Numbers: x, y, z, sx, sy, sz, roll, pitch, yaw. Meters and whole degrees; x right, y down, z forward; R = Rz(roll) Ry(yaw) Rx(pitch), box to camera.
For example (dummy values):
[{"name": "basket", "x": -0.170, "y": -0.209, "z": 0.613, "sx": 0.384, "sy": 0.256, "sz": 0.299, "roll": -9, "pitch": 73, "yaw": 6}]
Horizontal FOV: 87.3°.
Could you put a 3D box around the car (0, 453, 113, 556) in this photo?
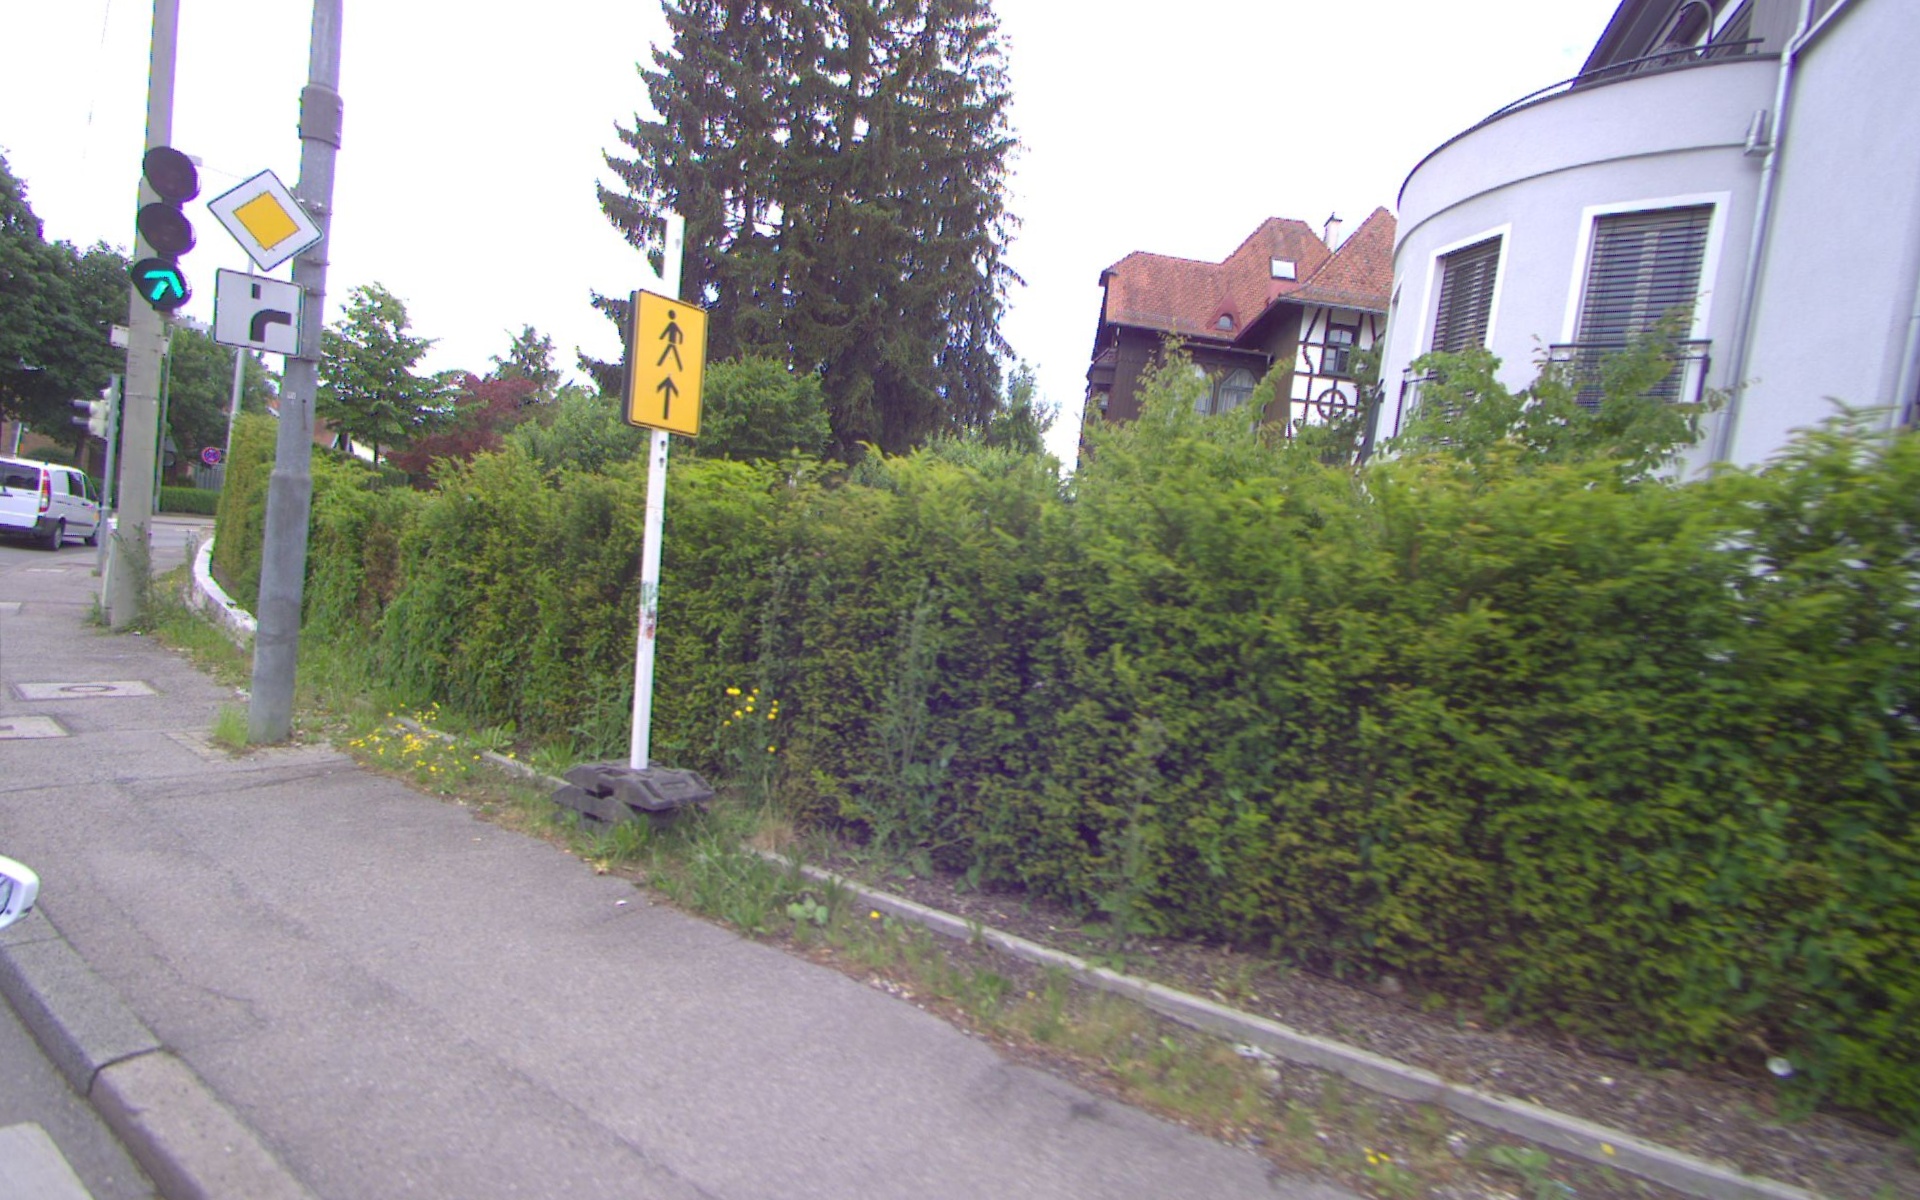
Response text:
[{"name": "car", "x": -21.400, "y": -2.209, "z": 23.073, "sx": 1.947, "sy": 2.037, "sz": 4.396, "roll": 9, "pitch": -1, "yaw": -28}]
